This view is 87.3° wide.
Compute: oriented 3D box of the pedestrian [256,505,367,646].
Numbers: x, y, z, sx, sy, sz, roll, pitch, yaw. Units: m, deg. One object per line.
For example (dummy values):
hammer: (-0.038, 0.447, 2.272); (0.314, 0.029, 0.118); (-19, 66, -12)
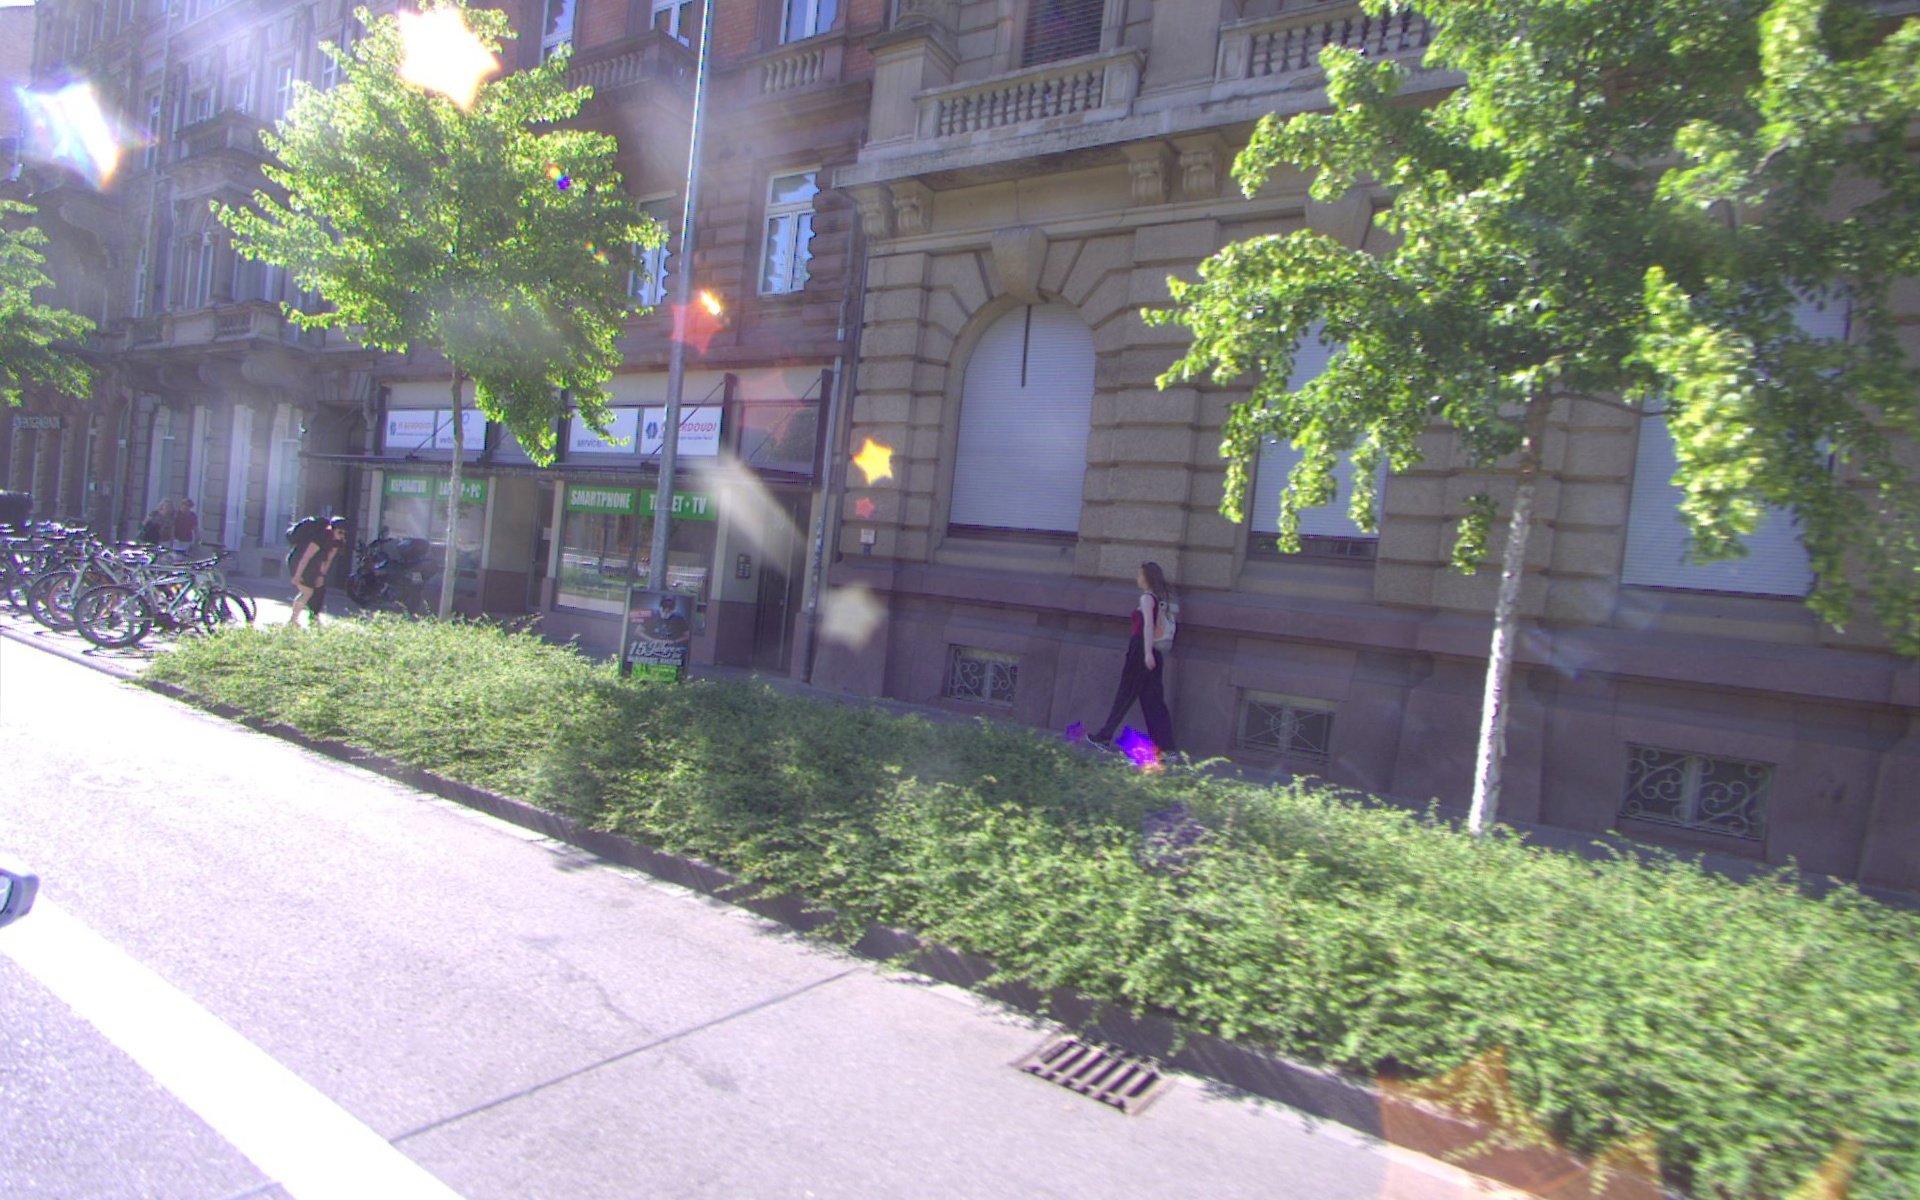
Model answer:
pedestrian: (-8.673, -0.331, 13.477); (0.885, 1.760, 0.848); (4, 4, 2)

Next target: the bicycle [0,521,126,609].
bicycle: (-12.389, -0.463, 13.285); (0.600, 1.122, 2.045); (6, 3, 26)

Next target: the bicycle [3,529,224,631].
bicycle: (-10.122, -0.202, 12.124); (0.428, 1.123, 1.978); (6, 2, 29)

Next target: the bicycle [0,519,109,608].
bicycle: (-12.730, -0.493, 13.495); (0.473, 1.140, 1.975); (7, 4, 27)

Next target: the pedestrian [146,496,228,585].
pedestrian: (-15.843, -1.217, 20.621); (0.976, 1.661, 0.971); (8, 3, 32)

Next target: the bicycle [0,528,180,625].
bicycle: (-11.167, -0.279, 12.611); (0.477, 1.117, 2.290); (6, 2, 18)

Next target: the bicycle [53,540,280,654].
bicycle: (-8.669, -0.014, 11.095); (0.509, 1.123, 1.894); (6, 2, 27)

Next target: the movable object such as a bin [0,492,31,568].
movable object such as a bin: (-20.280, -1.505, 20.654); (1.721, 1.516, 1.372); (6, 3, 33)

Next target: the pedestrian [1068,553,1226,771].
pedestrian: (1.837, 0.569, 9.873); (1.081, 1.946, 0.888); (7, 3, 37)

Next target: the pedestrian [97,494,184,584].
pedestrian: (-16.027, -1.186, 19.671); (1.062, 1.587, 0.950); (8, 2, 32)

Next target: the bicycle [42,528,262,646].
bicycle: (-8.968, -0.104, 11.263); (0.367, 1.194, 1.868); (6, 1, 29)

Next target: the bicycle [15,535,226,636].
bicycle: (-9.864, -0.144, 11.907); (0.561, 1.069, 1.817); (6, 2, 26)

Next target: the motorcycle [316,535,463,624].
motorcycle: (-10.051, -0.383, 17.676); (2.933, 1.281, 0.867); (6, -1, 32)

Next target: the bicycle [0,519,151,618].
bicycle: (-11.517, -0.396, 12.671); (0.421, 1.171, 2.150); (6, 3, 19)
